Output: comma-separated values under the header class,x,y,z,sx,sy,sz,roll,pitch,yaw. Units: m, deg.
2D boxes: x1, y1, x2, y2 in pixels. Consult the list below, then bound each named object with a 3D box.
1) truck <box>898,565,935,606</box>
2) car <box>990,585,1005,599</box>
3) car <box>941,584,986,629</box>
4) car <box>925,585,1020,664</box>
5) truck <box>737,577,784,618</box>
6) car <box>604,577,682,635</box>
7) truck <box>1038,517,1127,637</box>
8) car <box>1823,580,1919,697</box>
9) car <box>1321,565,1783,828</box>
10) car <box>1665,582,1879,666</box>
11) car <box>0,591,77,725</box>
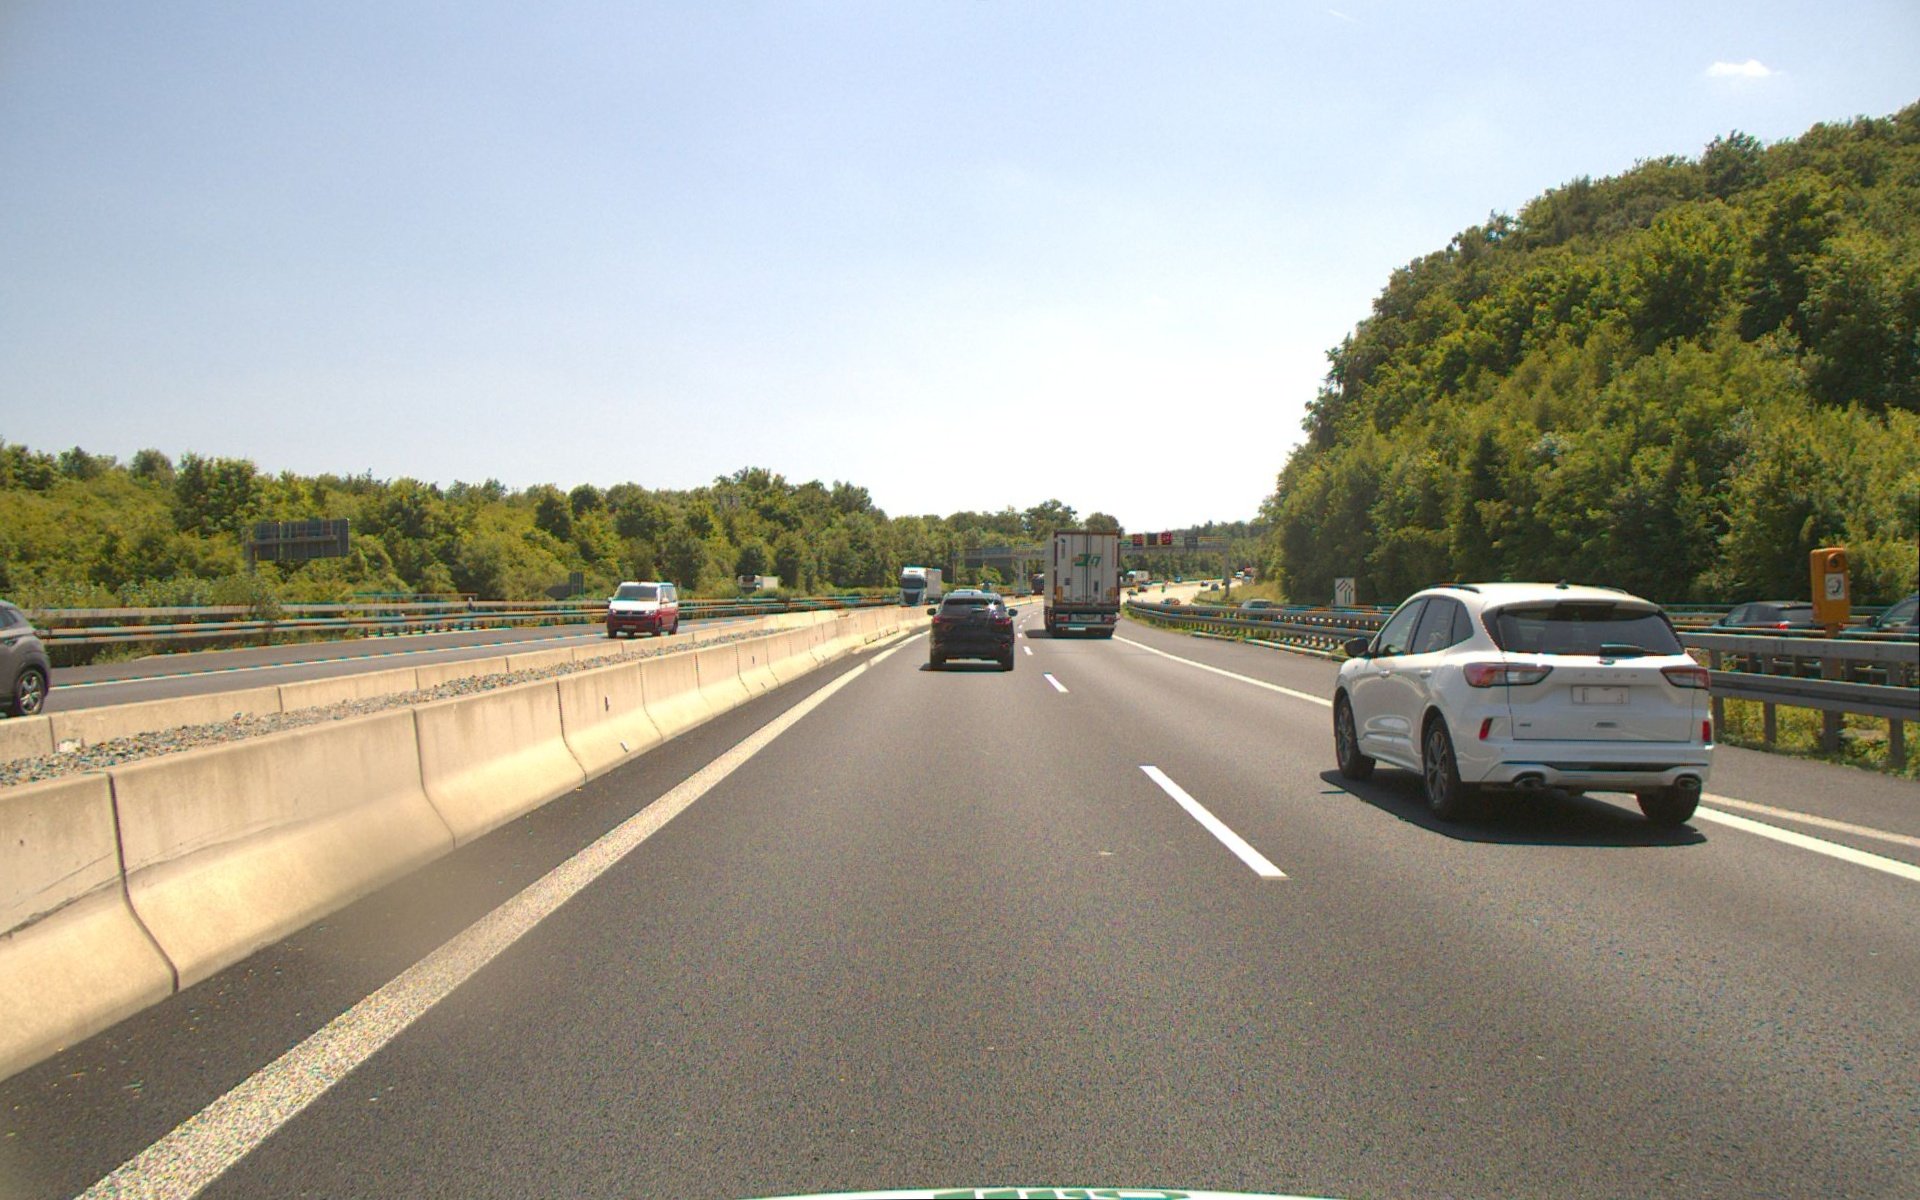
class,x,y,z,sx,sy,sz,roll,pitch,yaw
truck,-4.501,-1.401,171.950,2.640,4.029,10.782,0,-1,5
car,5.426,-1.122,238.931,1.953,2.049,3.999,0,0,-2
car,0.155,0.322,80.642,1.954,2.048,3.998,-3,0,-2
car,0.212,0.530,35.784,1.744,1.605,3.996,0,-1,-4
truck,-20.571,-0.187,171.365,2.640,4.029,10.782,0,-1,5
car,-11.617,0.244,60.993,1.953,2.049,5.378,0,-1,-2
truck,4.863,-0.808,67.922,2.969,4.496,12.019,0,-1,1
car,14.902,0.558,23.726,1.953,1.691,5.624,0,-1,-2
car,4.298,0.645,12.879,1.953,1.691,4.467,0,-1,-1
car,17.880,0.498,36.764,1.954,1.691,5.224,-1,0,-3
car,-12.028,0.664,18.820,1.692,1.559,4.260,1,0,-1
